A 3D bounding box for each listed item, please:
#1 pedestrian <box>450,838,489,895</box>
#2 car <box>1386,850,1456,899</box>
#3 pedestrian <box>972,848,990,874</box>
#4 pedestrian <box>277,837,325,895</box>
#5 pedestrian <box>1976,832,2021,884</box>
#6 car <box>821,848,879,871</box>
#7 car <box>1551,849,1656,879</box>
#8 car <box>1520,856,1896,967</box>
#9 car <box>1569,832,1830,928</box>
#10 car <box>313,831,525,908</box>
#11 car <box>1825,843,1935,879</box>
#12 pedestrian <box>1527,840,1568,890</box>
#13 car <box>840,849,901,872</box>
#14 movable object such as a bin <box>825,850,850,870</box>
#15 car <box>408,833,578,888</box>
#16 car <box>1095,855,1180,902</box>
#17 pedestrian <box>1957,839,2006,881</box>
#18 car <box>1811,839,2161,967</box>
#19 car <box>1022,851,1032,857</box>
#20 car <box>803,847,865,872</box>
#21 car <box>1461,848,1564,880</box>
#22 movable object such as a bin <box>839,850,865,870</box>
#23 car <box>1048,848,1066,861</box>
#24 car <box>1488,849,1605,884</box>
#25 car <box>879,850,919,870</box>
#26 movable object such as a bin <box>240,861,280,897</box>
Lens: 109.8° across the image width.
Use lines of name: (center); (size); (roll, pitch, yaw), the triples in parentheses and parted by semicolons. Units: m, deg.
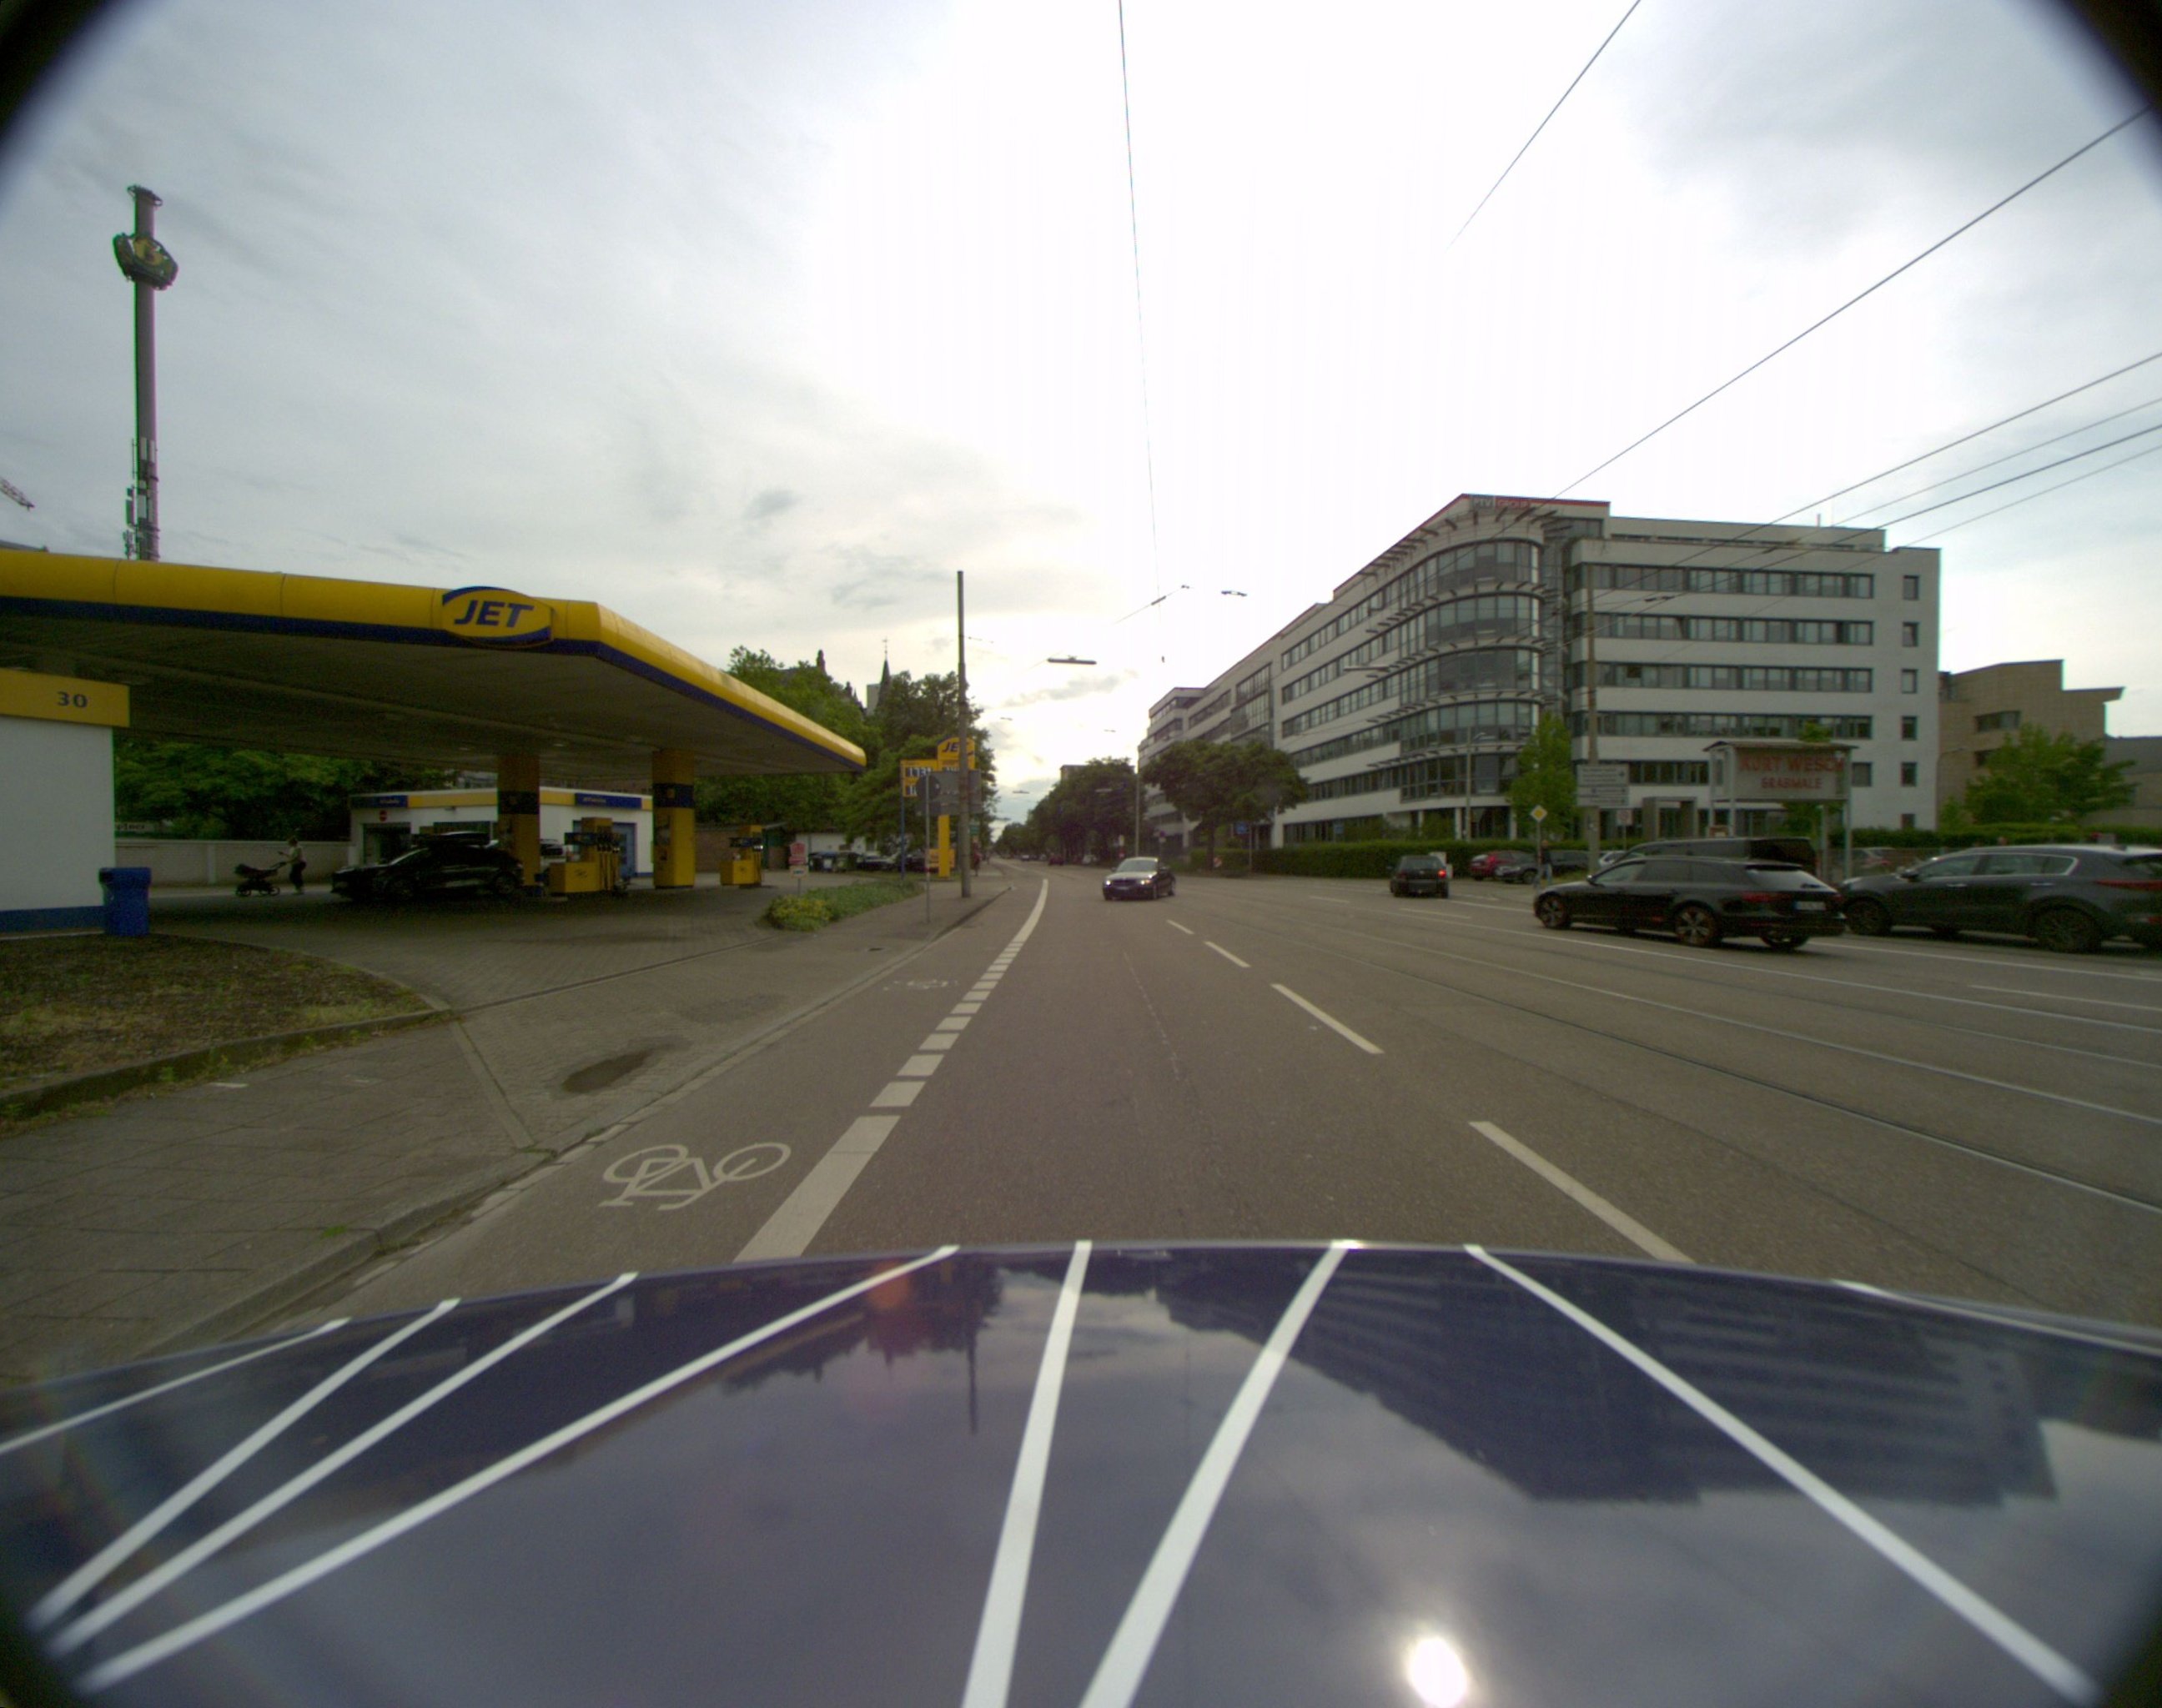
pedestrian: (-19.417, 0.392, 24.122); (0.706, 1.777, 0.628); (-1, 1, 21)
car: (11.839, 0.655, 26.657); (1.792, 1.521, 4.147); (2, 1, 18)
pedestrian: (-6.846, 0.464, 51.970); (0.871, 1.738, 0.848); (2, 1, -32)
pedestrian: (-24.657, 0.390, 24.032); (0.602, 1.808, 0.972); (0, -2, 41)
pedestrian: (31.756, 0.125, 26.295); (0.636, 1.764, 0.761); (-1, 1, -1)
car: (-17.999, 0.416, 59.411); (3.999, 1.657, 1.999); (-1, 1, -6)
car: (25.138, 0.466, 36.627); (4.048, 1.341, 1.778); (-1, 1, -8)
car: (10.092, 0.803, 12.894); (1.911, 1.464, 4.815); (1, 0, -10)
car: (15.014, 0.527, 18.961); (1.992, 2.002, 5.182); (-2, 1, -5)
car: (-18.807, 0.345, 21.875); (1.820, 1.977, 4.259); (1, 1, 17)
car: (40.549, 0.320, 38.611); (3.836, 1.672, 1.887); (-1, 1, -6)
pedestrian: (17.200, 0.390, 28.024); (0.806, 1.815, 1.059); (-1, 1, -3)
car: (-15.191, 0.454, 55.101); (1.822, 1.509, 4.007); (-1, 1, 34)
movable object such as a bin: (-16.557, 0.412, 51.697); (1.118, 1.351, 1.162); (-1, 1, 28)
car: (-21.585, 0.255, 28.124); (1.982, 1.832, 4.536); (2, 0, 23)
car: (2.023, 0.787, 25.938); (1.784, 1.361, 4.118); (-1, 1, 20)
pedestrian: (44.092, 0.284, 37.218); (1.217, 2.002, 1.186); (0, 1, -19)
car: (15.851, 0.687, 13.024); (2.043, 1.739, 4.532); (-2, 0, -6)
car: (-12.583, -0.013, 176.992); (1.802, 1.537, 4.476); (-1, 1, -9)
car: (-17.937, 0.410, 55.321); (1.807, 1.686, 4.033); (-1, 1, 30)
car: (20.478, 0.475, 36.142); (4.019, 1.413, 1.725); (-1, -1, -6)
movable object such as a bin: (-15.453, 0.419, 51.294); (1.118, 1.312, 1.162); (-1, 1, 28)
car: (-3.377, -0.003, 105.138); (1.848, 1.714, 4.403); (-1, 1, -10)
car: (20.252, 0.531, 33.187); (3.983, 1.443, 1.816); (0, 1, 3)
car: (-12.805, 0.419, 53.604); (1.999, 1.281, 3.998); (-1, 1, -3)
movable object such as a bin: (-25.115, 0.761, 23.247); (0.602, 1.059, 0.797); (0, -2, 41)
